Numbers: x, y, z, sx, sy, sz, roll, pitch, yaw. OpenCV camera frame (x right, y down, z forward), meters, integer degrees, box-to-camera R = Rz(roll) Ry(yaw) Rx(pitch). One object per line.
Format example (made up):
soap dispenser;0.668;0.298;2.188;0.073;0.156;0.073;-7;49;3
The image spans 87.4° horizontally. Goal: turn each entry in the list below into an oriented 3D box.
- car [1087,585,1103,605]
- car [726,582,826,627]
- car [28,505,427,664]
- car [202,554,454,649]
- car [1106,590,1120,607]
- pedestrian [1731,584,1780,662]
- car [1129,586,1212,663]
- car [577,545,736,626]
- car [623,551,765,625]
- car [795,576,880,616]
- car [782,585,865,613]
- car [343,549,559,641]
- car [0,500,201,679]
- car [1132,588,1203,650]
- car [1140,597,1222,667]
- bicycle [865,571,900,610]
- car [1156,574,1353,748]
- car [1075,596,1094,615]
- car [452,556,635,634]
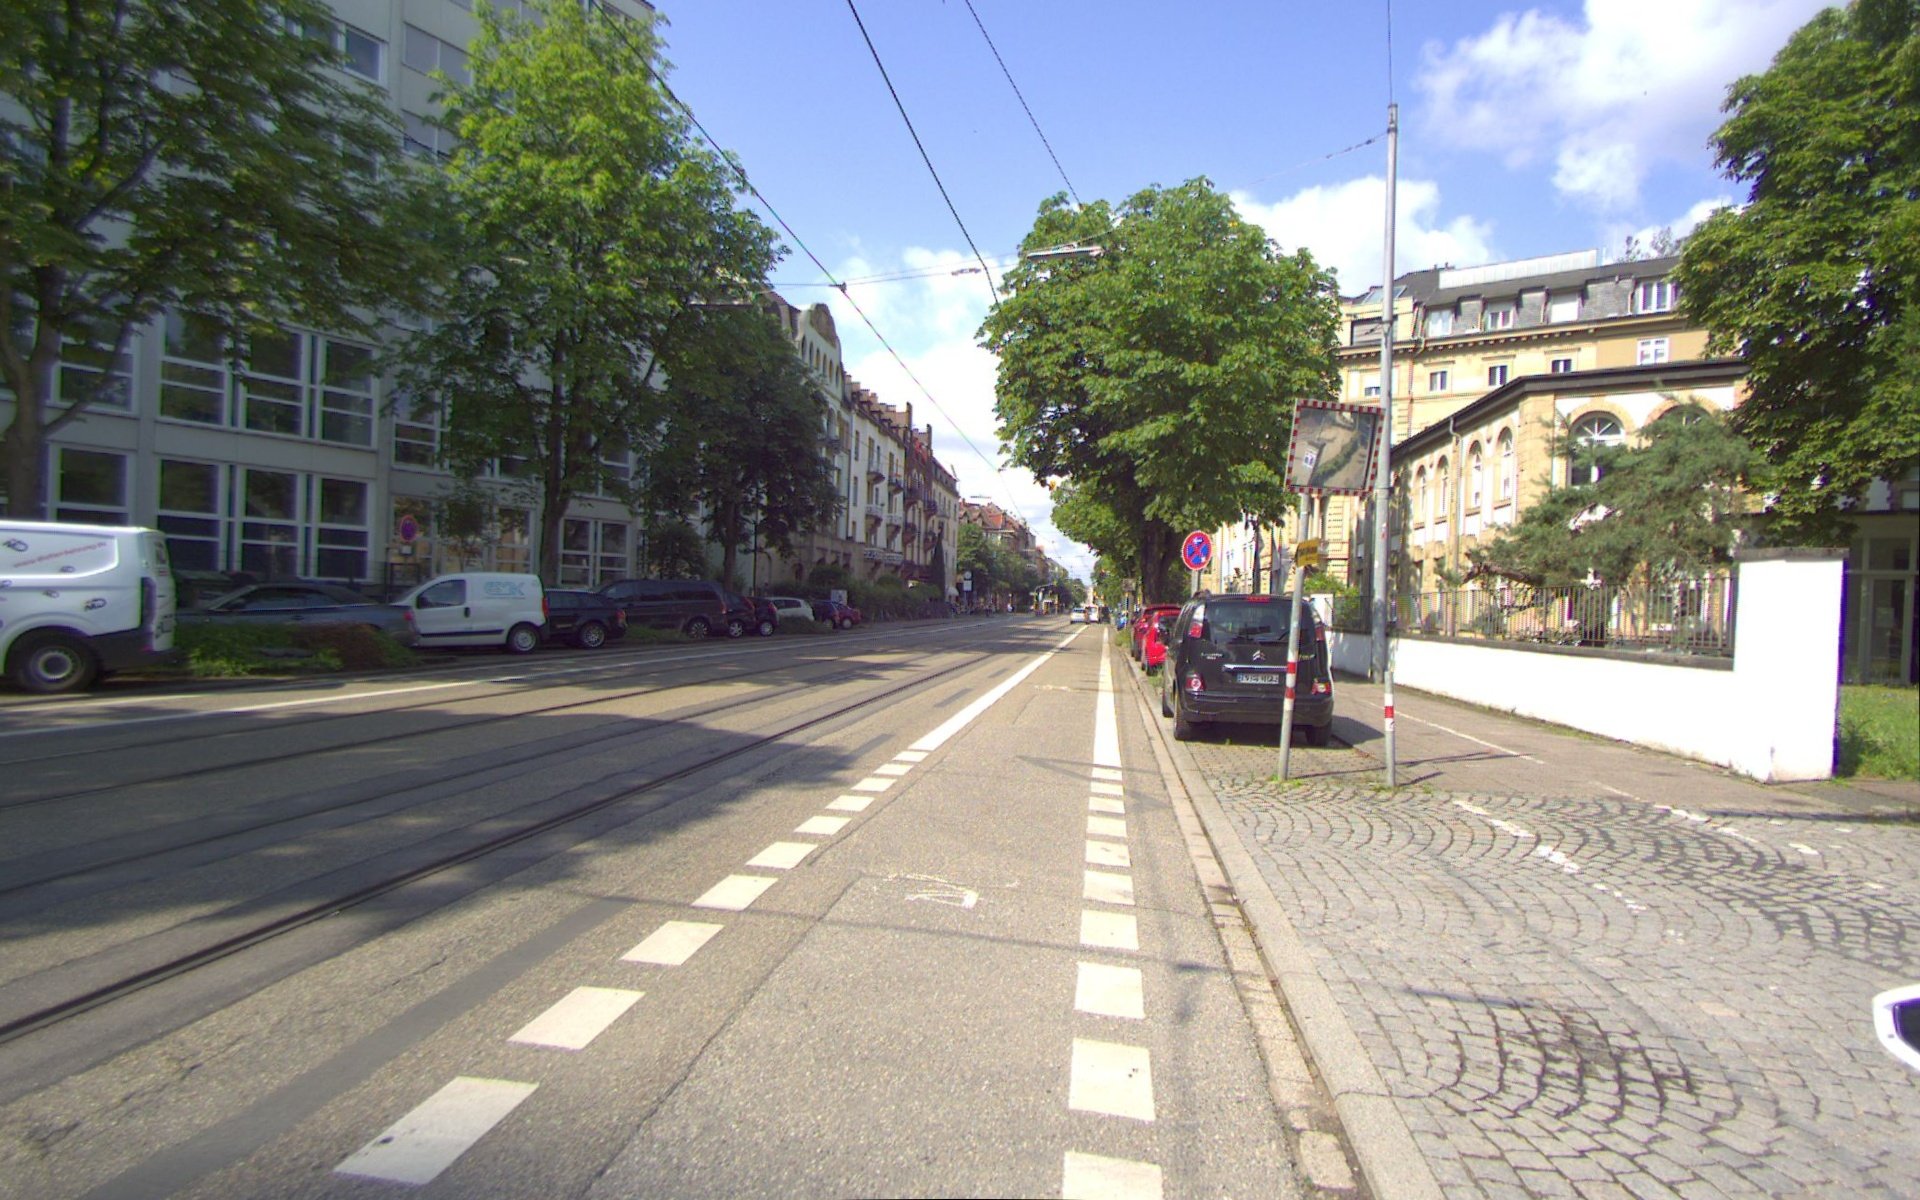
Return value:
car;14.389;-0.525;107.207;1.593;2.027;3.567;1;1;8
car;-7.384;0.167;40.422;3.563;1.599;1.620;-3;2;-31
car;-10.673;-0.136;15.088;4.525;2.024;1.886;3;0;-33
car;-11.136;0.037;17.796;3.606;1.521;1.742;1;0;-40
car;17.491;-0.144;114.919;1.593;1.873;3.567;1;1;8
pedestrian;17.928;0.510;22.648;0.760;1.700;0.806;2;1;35
car;4.867;0.539;23.634;1.645;1.633;3.586;-2;0;8
car;-9.206;-0.433;30.594;4.167;2.109;1.863;4;1;-38
car;-8.915;-0.397;33.750;4.158;2.109;1.867;4;1;-31
car;-5.775;-0.180;47.360;3.564;1.599;1.619;4;1;-31
car;-6.739;-0.051;49.662;3.742;1.324;1.625;1;1;-30
car;-10.538;-0.091;20.878;3.724;1.735;1.863;1;1;-38
car;-11.510;-0.147;11.251;4.593;1.937;1.915;3;-1;-33
car;6.230;0.523;30.456;1.926;1.729;4.002;1;1;10
car;5.117;0.701;23.561;1.638;1.506;3.281;-1;0;9
bicycle;-4.779;-0.589;62.707;0.922;2.350;4.002;1;1;14
car;3.321;0.569;11.972;1.645;1.633;3.586;4;2;8
car;11.662;0.483;94.087;1.593;1.706;3.567;1;1;8
car;-9.997;-0.111;24.185;3.724;1.735;1.863;1;1;-38
